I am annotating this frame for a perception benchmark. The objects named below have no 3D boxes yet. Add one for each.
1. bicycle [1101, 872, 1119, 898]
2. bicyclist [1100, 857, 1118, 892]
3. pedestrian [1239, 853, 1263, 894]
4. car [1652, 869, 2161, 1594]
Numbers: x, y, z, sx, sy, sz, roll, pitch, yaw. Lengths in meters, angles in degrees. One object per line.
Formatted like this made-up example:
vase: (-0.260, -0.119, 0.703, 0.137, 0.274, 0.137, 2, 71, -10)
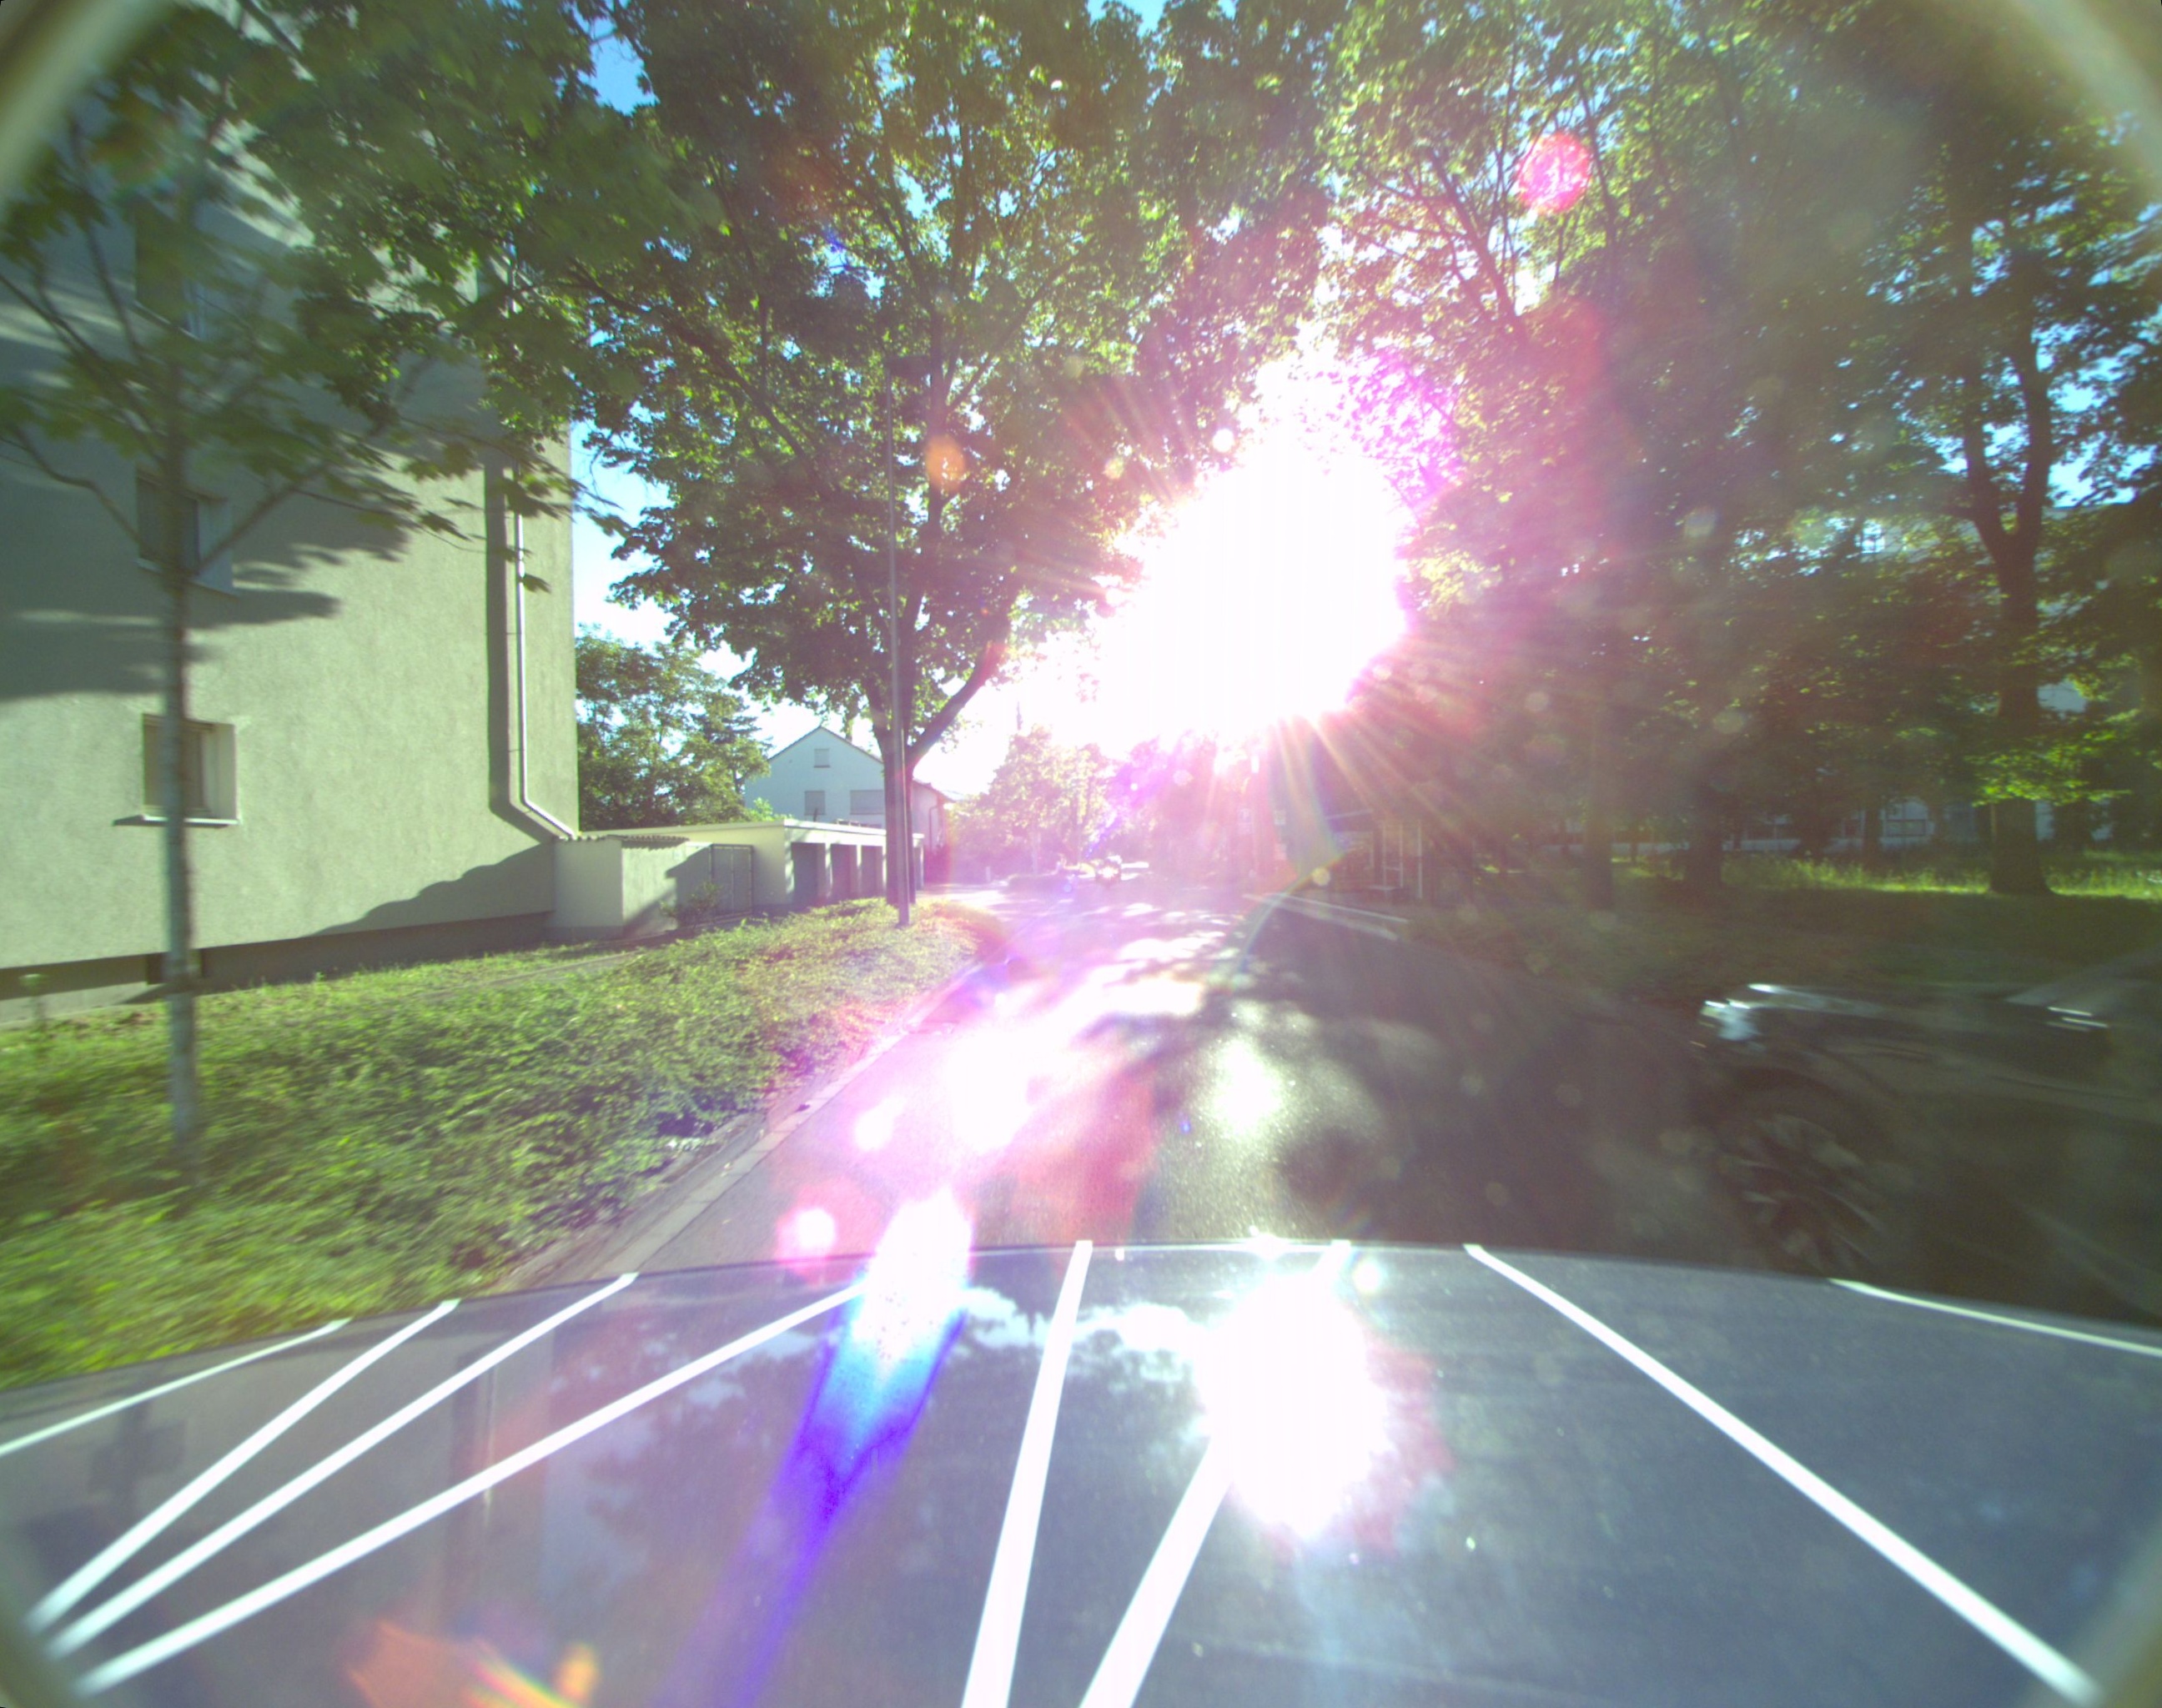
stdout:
bicycle: (1.424, 1.507, 37.636, 0.829, 1.182, 2.302, -2, 0, 2)
bicyclist: (1.399, 1.000, 37.592, 0.819, 1.635, 0.744, -3, 1, 2)
pedestrian: (7.654, 0.855, 34.257, 0.905, 1.810, 0.720, -2, 1, 0)
car: (3.312, 0.854, 0.997, 1.849, 1.569, 4.335, 0, 0, 0)
